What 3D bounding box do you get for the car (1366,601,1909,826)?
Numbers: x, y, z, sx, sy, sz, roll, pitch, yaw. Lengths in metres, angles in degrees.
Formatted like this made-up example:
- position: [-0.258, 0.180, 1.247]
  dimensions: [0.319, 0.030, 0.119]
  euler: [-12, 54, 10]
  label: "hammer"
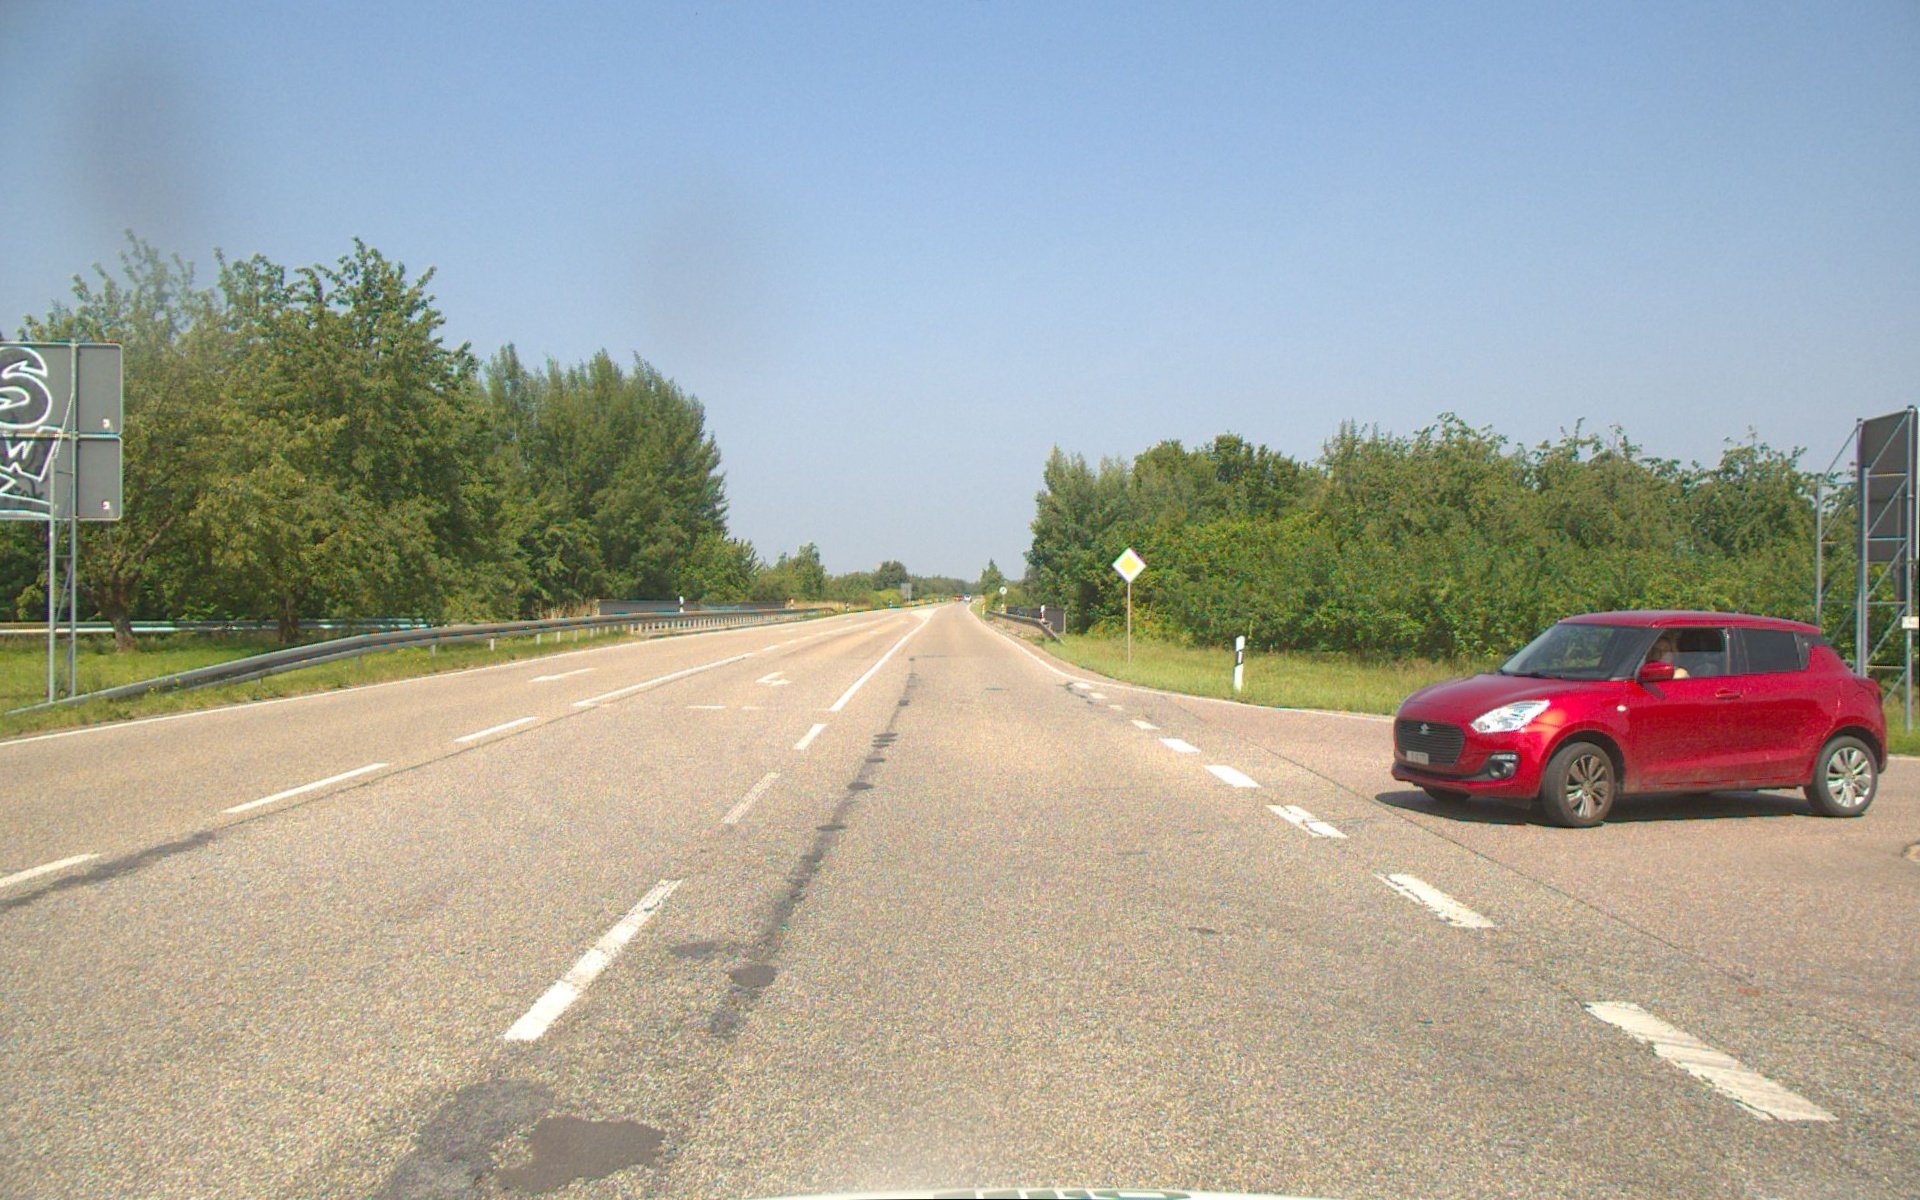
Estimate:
- position: [5.167, 0.810, 12.684]
  dimensions: [3.683, 1.519, 1.663]
  euler: [1, 0, -19]
  label: "car"
